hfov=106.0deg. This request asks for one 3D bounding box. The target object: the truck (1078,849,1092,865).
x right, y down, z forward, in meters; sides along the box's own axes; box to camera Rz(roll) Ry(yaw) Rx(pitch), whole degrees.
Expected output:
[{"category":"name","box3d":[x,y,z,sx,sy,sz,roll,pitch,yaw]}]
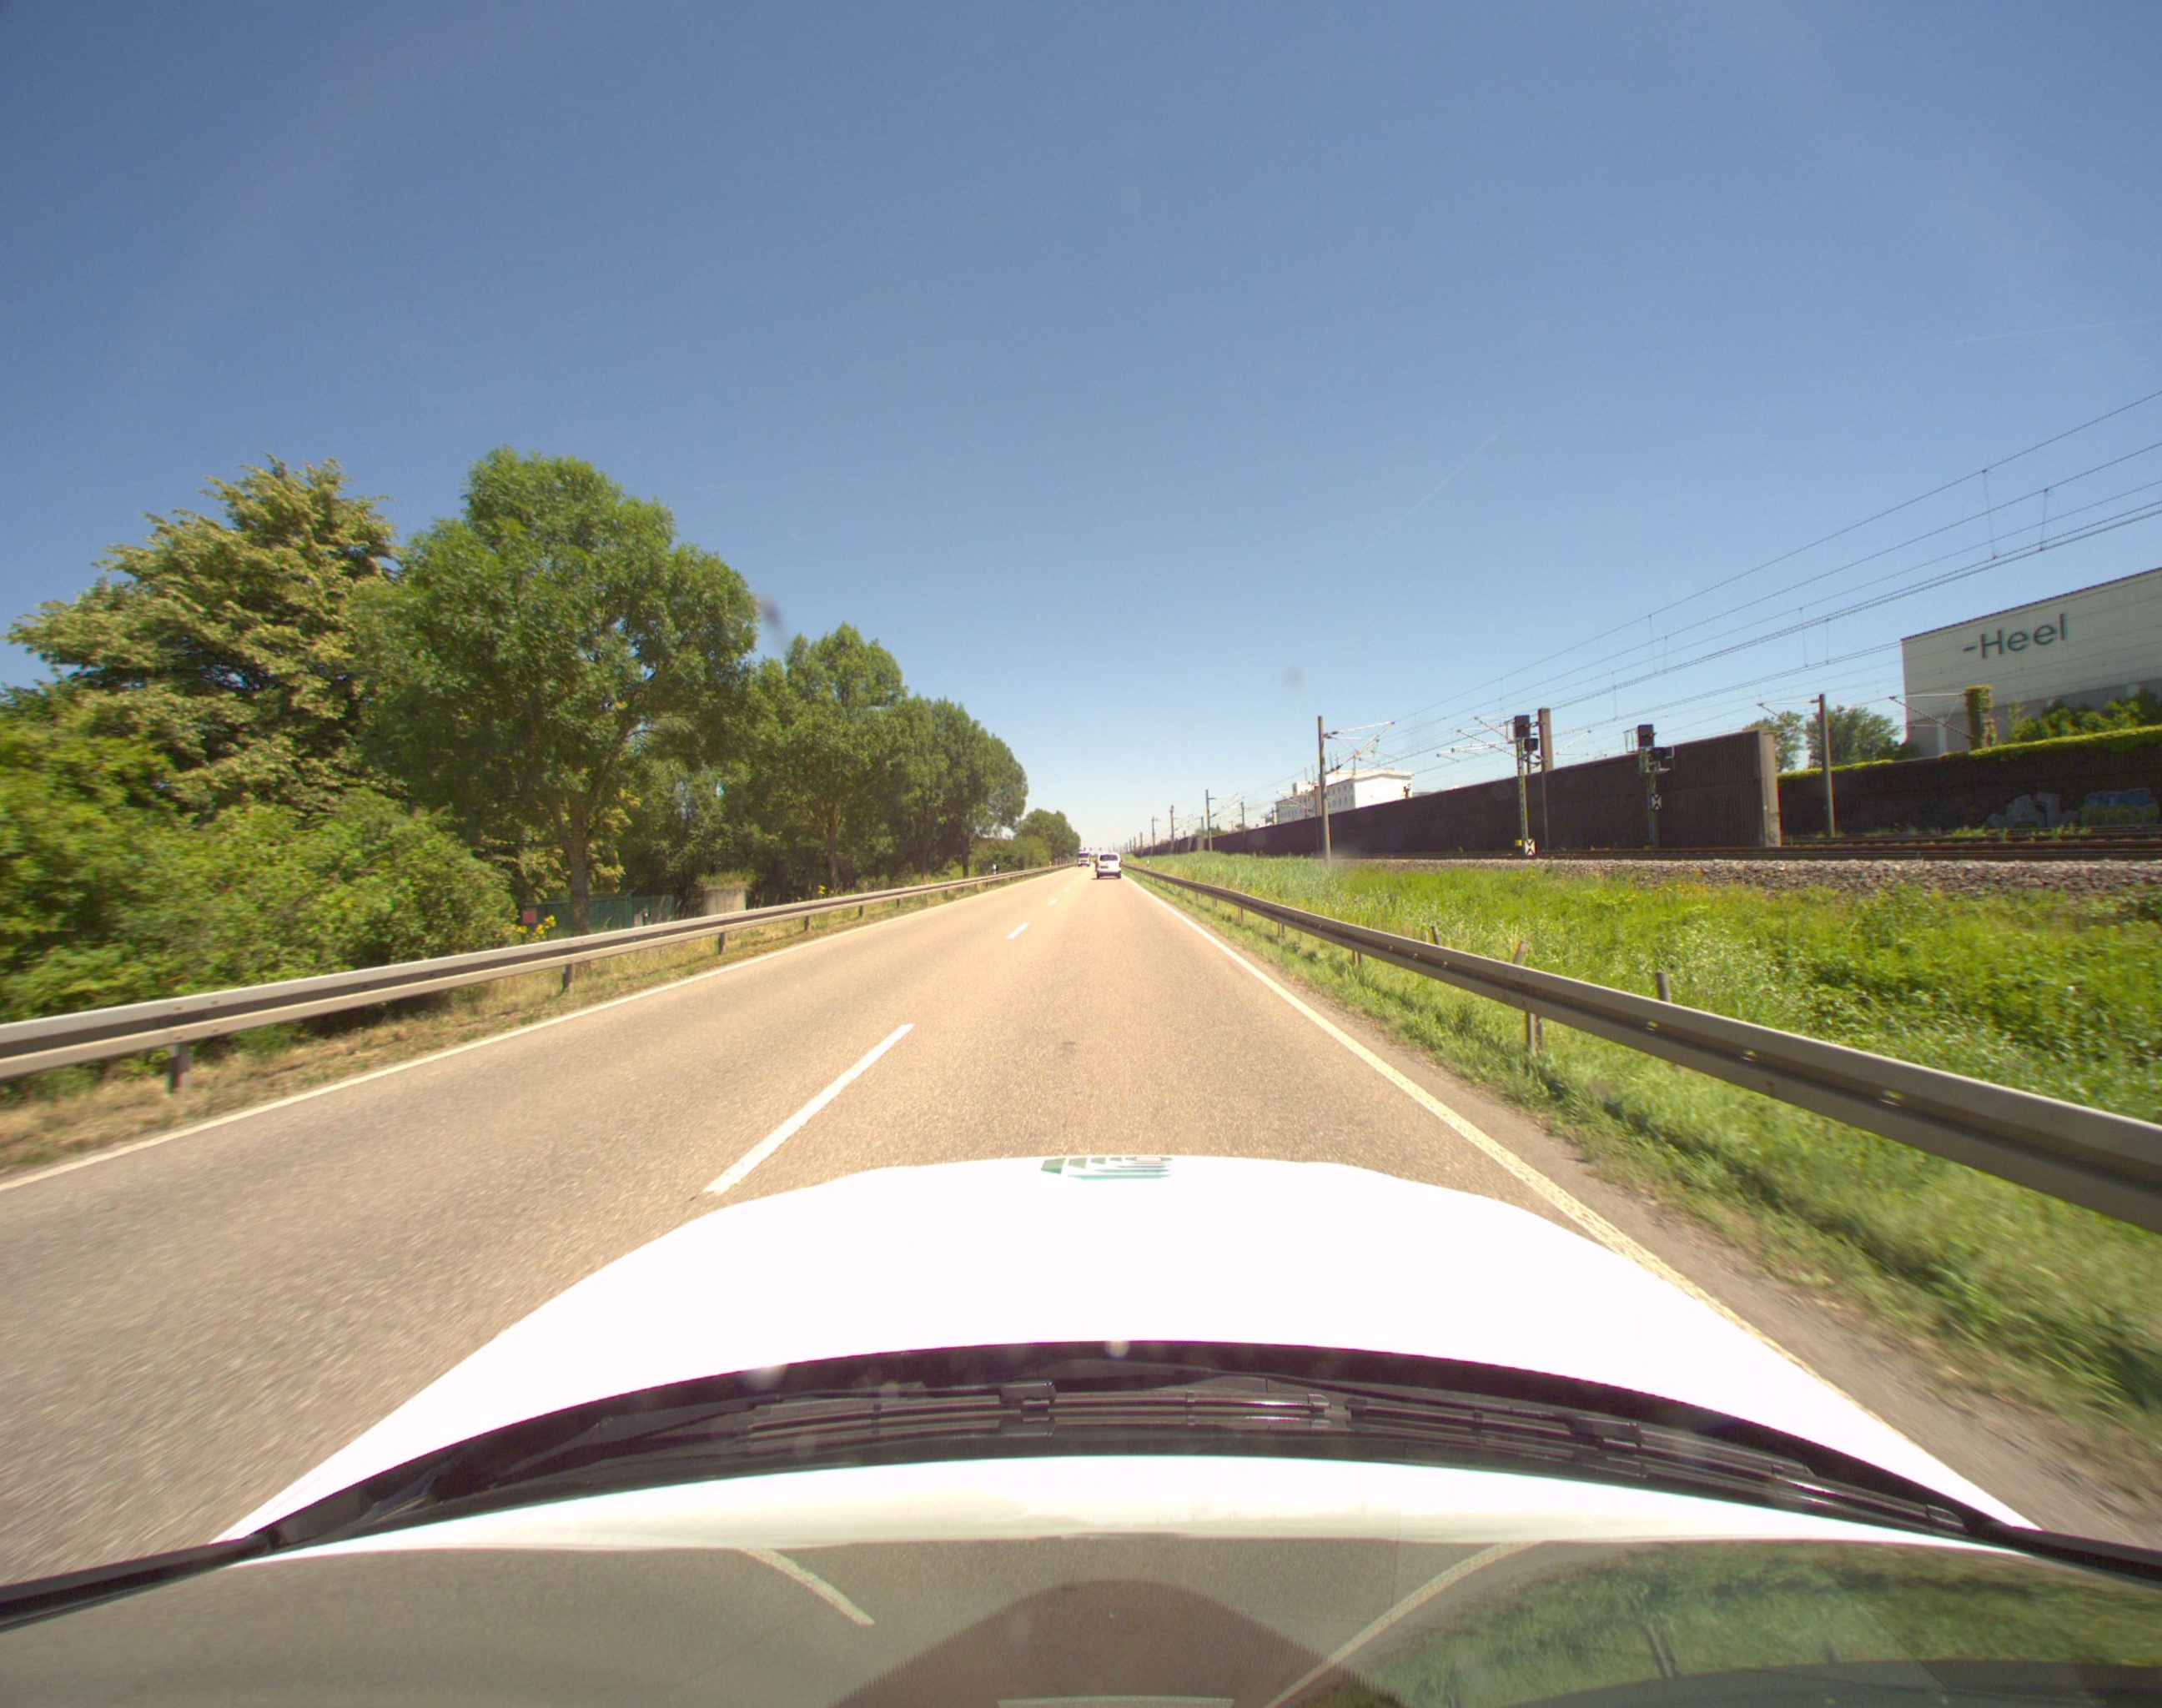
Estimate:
[{"category":"truck","box3d":[0.810,0.662,173.529,2.774,3.405,7.990,-1,0,1]}]

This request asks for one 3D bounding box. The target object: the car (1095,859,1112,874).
[{"category":"car","box3d":[2.782,1.515,99.728,1.986,1.850,4.001,-1,0,1]}]

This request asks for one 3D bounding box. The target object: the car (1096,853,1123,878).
[{"category":"car","box3d":[2.187,0.855,62.087,1.986,1.850,4.001,-1,0,1]}]
